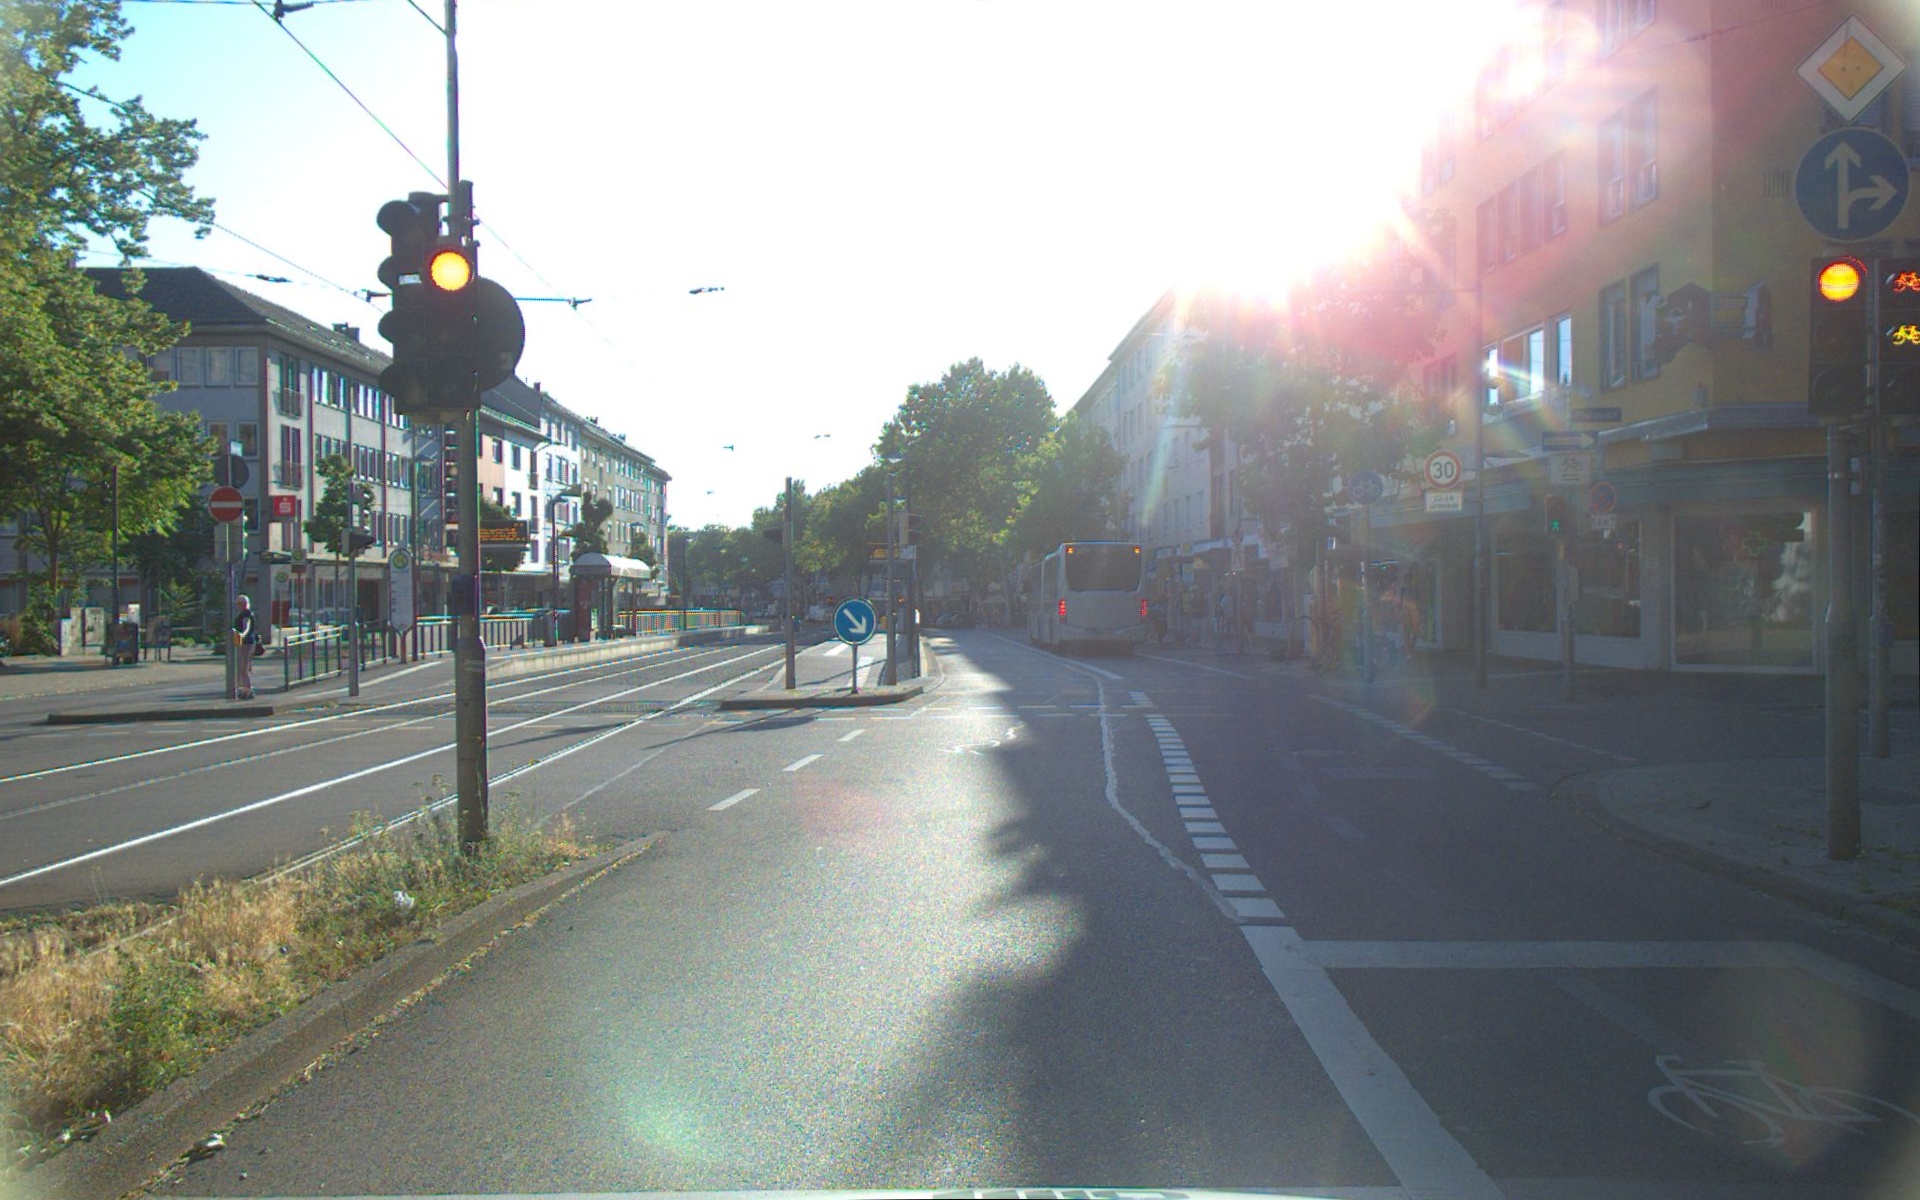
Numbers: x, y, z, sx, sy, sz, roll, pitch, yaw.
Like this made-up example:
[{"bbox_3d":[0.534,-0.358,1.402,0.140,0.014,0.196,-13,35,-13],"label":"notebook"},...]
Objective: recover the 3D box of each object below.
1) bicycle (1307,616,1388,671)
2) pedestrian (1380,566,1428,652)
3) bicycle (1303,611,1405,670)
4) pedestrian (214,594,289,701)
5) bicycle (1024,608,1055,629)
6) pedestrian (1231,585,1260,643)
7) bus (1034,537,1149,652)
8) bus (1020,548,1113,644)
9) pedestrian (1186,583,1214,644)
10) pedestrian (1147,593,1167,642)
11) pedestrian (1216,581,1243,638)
[{"bbox_3d":[7.489,0.827,31.955,1.453,1.026,0.454,-1,0,-5],"label":"bicycle"},{"bbox_3d":[9.601,0.188,35.775,0.728,1.811,0.894,-1,-1,-2],"label":"pedestrian"},{"bbox_3d":[7.455,0.759,31.308,1.763,1.026,0.540,-3,0,-5],"label":"bicycle"},{"bbox_3d":[-12.130,0.802,28.352,0.900,1.791,0.832,-1,-1,0],"label":"pedestrian"},{"bbox_3d":[4.852,1.128,101.009,1.848,1.096,0.754,-5,0,1],"label":"bicycle"},{"bbox_3d":[8.780,0.442,50.905,0.709,1.753,0.766,-1,-1,-2],"label":"pedestrian"},{"bbox_3d":[3.826,-0.140,50.212,2.641,3.173,9.379,0,0,-1],"label":"bus"},{"bbox_3d":[3.710,-0.117,59.461,2.641,3.173,9.068,0,0,-1],"label":"bus"},{"bbox_3d":[7.284,0.411,50.195,0.709,1.838,0.766,-1,-1,-2],"label":"pedestrian"},{"bbox_3d":[6.573,0.568,55.169,0.597,1.606,0.851,-1,0,4],"label":"pedestrian"},{"bbox_3d":[8.712,0.315,53.468,0.709,1.810,0.766,-1,-1,-2],"label":"pedestrian"}]
